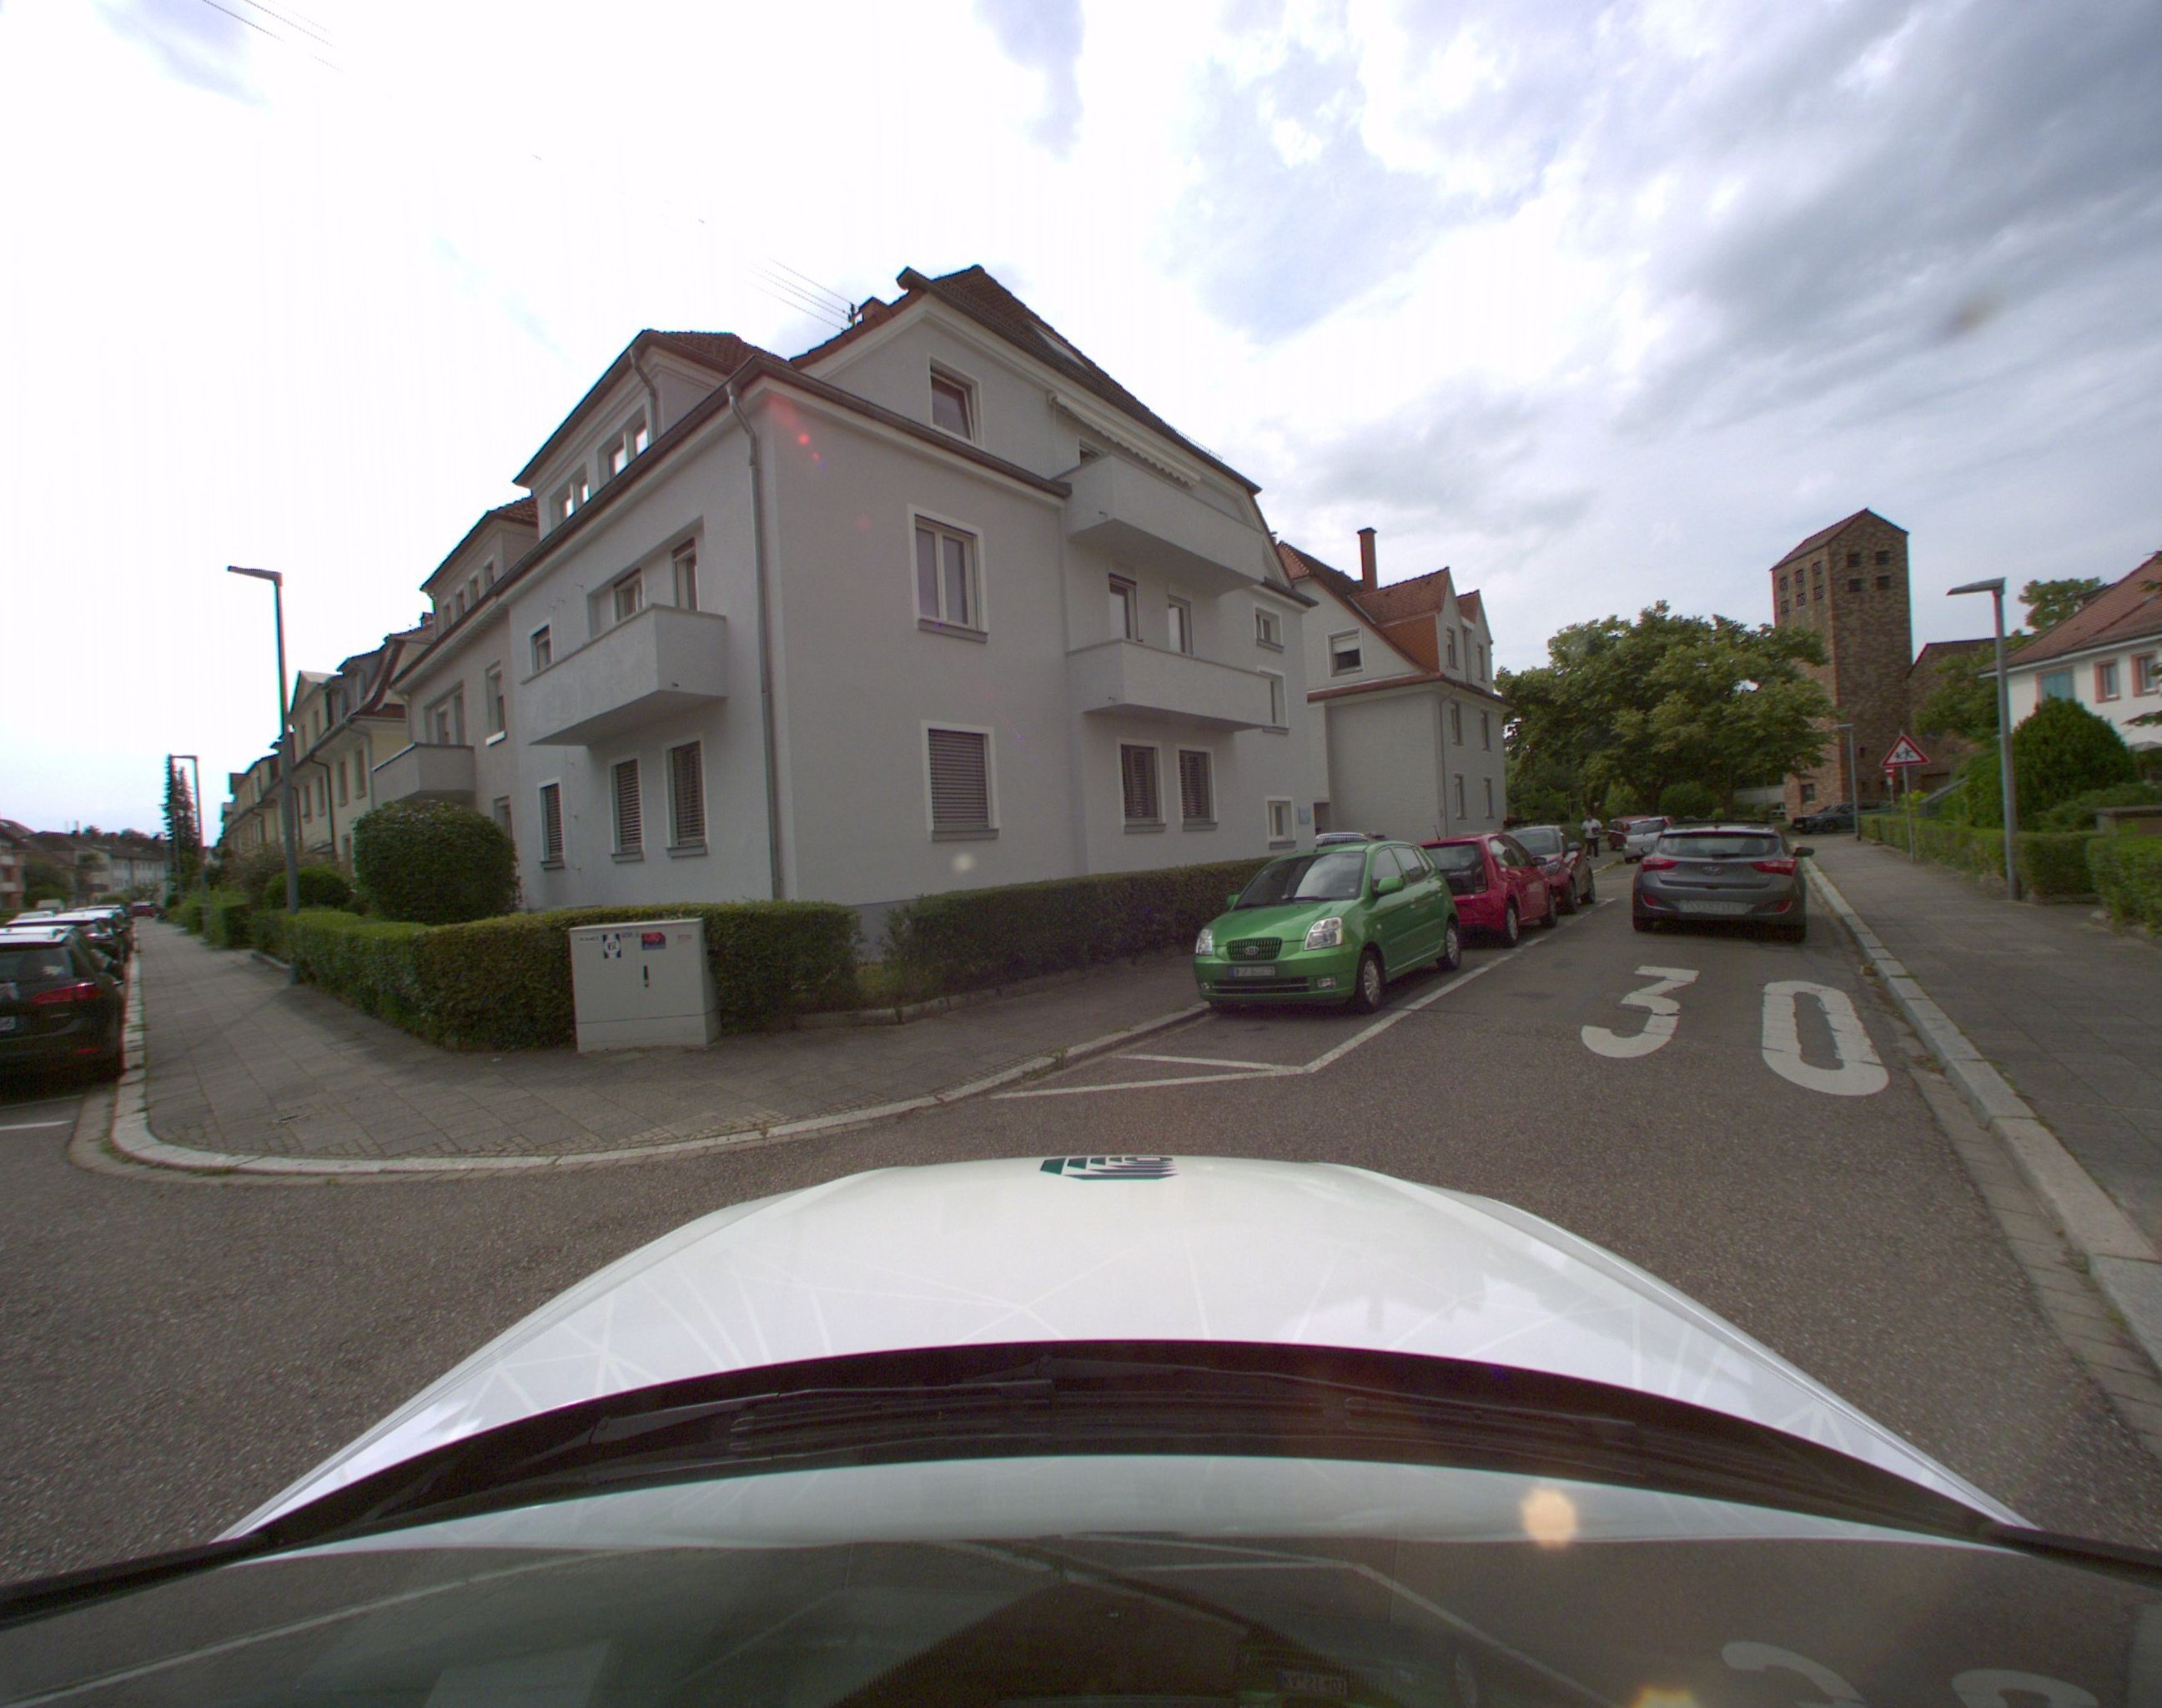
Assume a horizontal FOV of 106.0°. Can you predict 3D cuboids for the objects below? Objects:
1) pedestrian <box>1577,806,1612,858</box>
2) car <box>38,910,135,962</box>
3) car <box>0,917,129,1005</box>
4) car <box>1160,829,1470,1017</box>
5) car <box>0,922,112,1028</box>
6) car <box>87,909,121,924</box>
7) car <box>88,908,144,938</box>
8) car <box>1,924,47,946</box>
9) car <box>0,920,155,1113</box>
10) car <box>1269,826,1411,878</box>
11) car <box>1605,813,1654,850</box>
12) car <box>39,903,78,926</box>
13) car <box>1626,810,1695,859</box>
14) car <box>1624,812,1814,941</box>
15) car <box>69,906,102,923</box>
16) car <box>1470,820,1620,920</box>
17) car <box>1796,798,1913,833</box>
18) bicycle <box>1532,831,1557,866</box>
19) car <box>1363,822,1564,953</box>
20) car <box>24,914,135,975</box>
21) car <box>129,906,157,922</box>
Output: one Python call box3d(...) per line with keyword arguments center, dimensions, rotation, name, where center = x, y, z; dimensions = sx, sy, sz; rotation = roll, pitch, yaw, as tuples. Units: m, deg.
box3d(center=(19.416, -0.832, 30.793), dimensions=(0.873, 1.878, 1.085), rotation=(-3, 0, 41), name="pedestrian")
box3d(center=(-34.502, 2.802, 28.344), dimensions=(4.122, 1.471, 1.871), rotation=(-3, 0, 42), name="car")
box3d(center=(-21.889, 2.207, 17.375), dimensions=(4.122, 1.471, 1.871), rotation=(-3, 0, 42), name="car")
box3d(center=(2.533, 0.580, 8.287), dimensions=(1.629, 1.422, 3.504), rotation=(-7, -2, 40), name="car")
box3d(center=(-18.212, 2.035, 13.949), dimensions=(4.122, 1.471, 1.871), rotation=(-3, 0, 42), name="car")
box3d(center=(-122.849, 7.817, 102.475), dimensions=(2.011, 1.536, 3.952), rotation=(-5, 2, -40), name="car")
box3d(center=(-56.042, 3.984, 47.344), dimensions=(4.122, 1.471, 1.871), rotation=(-3, 0, 42), name="car")
box3d(center=(-93.244, 7.121, 71.887), dimensions=(3.950, 1.640, 2.012), rotation=(-3, 0, 44), name="car")
box3d(center=(-10.642, 1.491, 7.897), dimensions=(4.121, 1.471, 1.872), rotation=(-3, 0, 37), name="car")
box3d(center=(8.552, -0.045, 27.035), dimensions=(3.949, 1.464, 2.013), rotation=(-3, 0, 41), name="car")
box3d(center=(25.854, -1.049, 38.483), dimensions=(1.629, 1.496, 3.504), rotation=(-7, -2, 31), name="car")
box3d(center=(-101.266, 5.953, 80.665), dimensions=(3.949, 2.013, 2.012), rotation=(-3, 0, 43), name="car")
box3d(center=(20.709, -0.717, 29.050), dimensions=(1.629, 1.496, 3.504), rotation=(-7, -2, 40), name="car")
box3d(center=(9.083, 0.190, 11.569), dimensions=(1.831, 1.480, 4.067), rotation=(-1, 2, 40), name="car")
box3d(center=(-113.187, 6.886, 92.641), dimensions=(3.950, 1.640, 2.012), rotation=(-3, 0, 44), name="car")
box3d(center=(8.504, 0.239, 14.802), dimensions=(1.629, 1.496, 3.504), rotation=(-7, -2, 40), name="car")
box3d(center=(39.111, -1.940, 41.326), dimensions=(4.173, 1.464, 1.695), rotation=(-3, 2, 40), name="car")
box3d(center=(15.988, -0.209, 28.071), dimensions=(0.418, 1.103, 2.129), rotation=(-3, 0, 37), name="bicycle")
box3d(center=(5.568, 0.412, 11.649), dimensions=(1.629, 1.496, 3.504), rotation=(-7, -2, 40), name="car")
box3d(center=(-30.527, 2.690, 24.932), dimensions=(4.122, 1.471, 1.871), rotation=(-3, 0, 42), name="car")
box3d(center=(-106.069, 6.745, 92.107), dimensions=(4.122, 1.578, 1.871), rotation=(-3, 0, 42), name="car")
